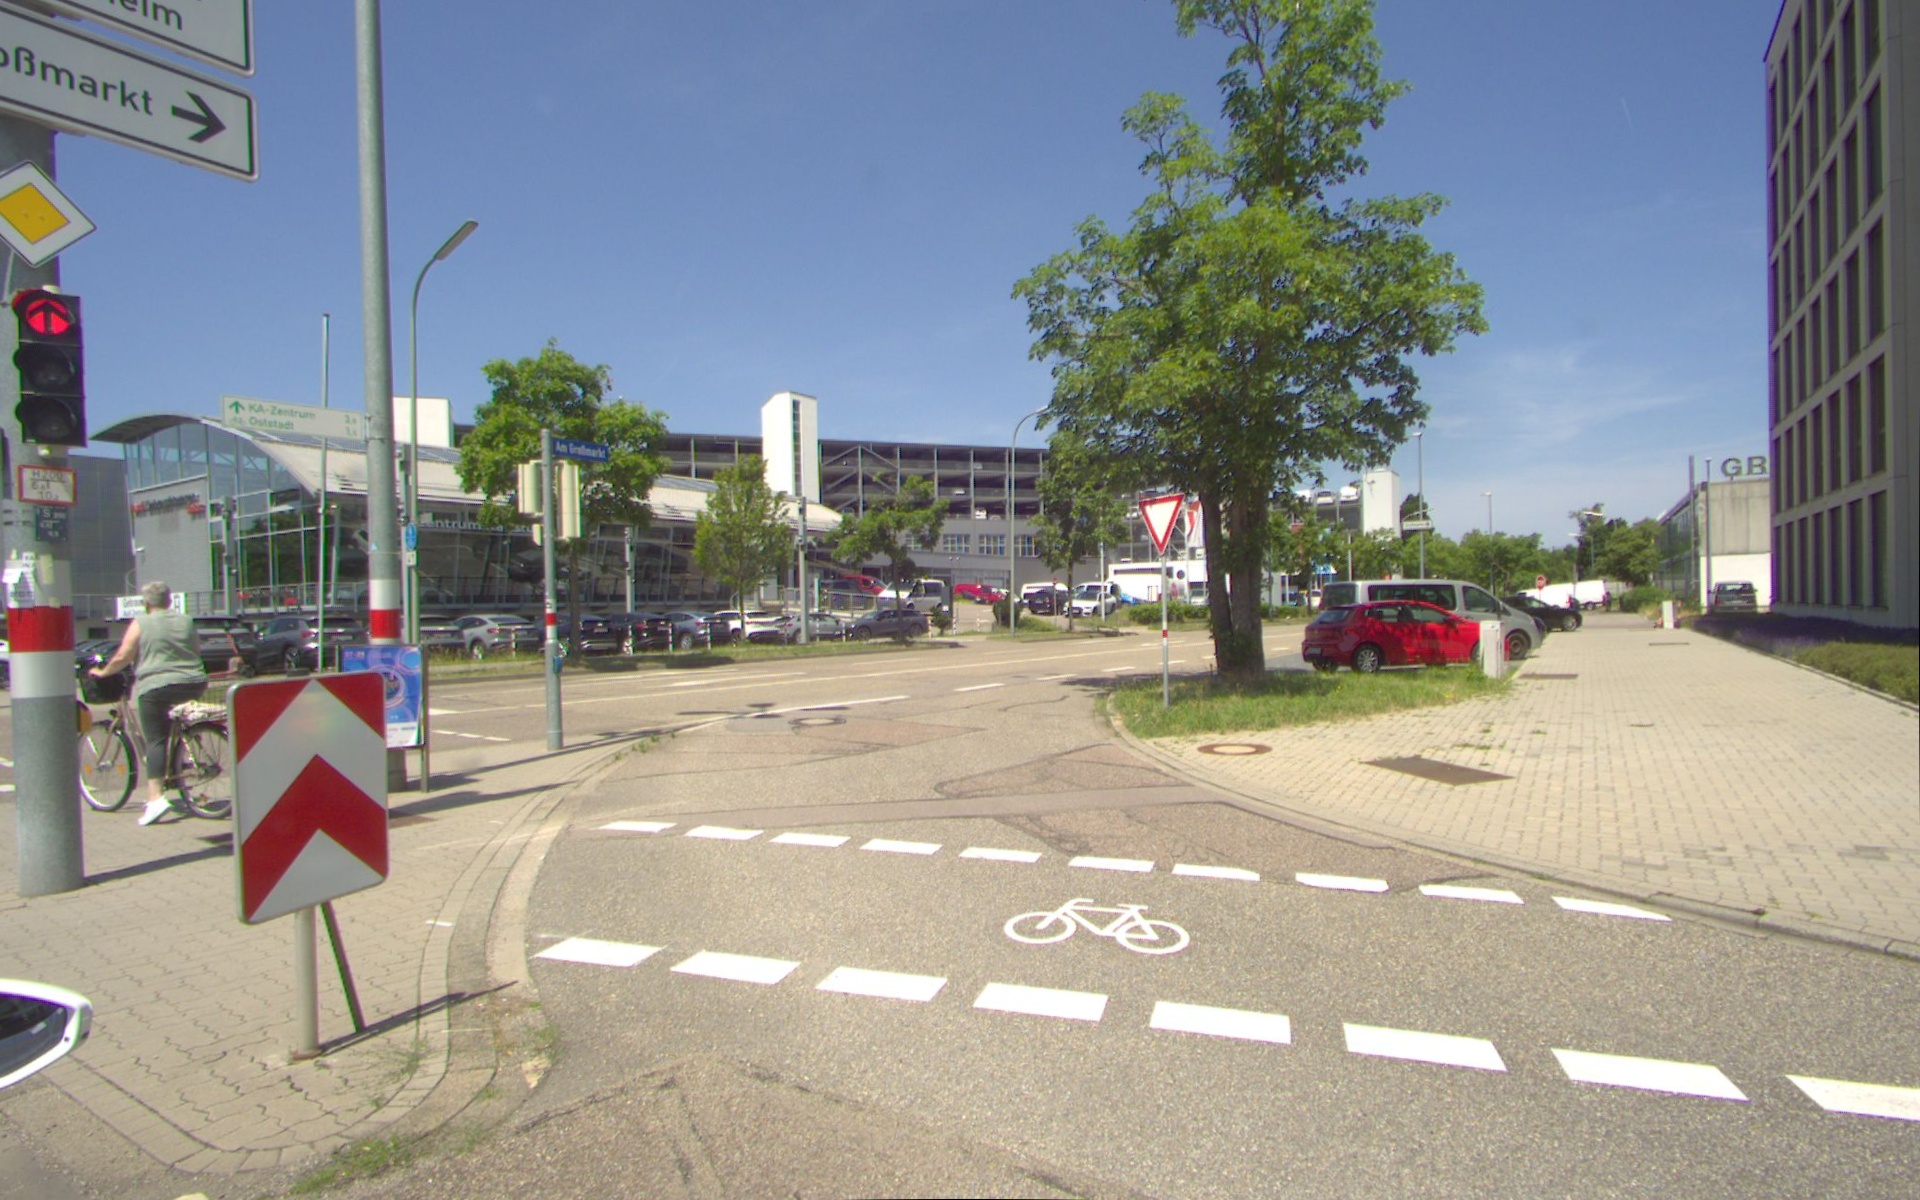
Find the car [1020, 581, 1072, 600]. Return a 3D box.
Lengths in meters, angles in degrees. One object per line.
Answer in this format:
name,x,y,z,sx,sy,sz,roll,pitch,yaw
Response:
car,7.915,-0.856,92.212,4.294,1.674,1.904,-1,0,31

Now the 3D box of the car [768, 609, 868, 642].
car,-7.030,1.249,49.685,4.527,1.491,1.902,-1,0,-34

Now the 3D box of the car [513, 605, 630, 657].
car,-13.263,1.073,34.159,3.851,1.676,1.627,-1,-1,28

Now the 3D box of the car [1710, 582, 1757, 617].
car,42.203,0.018,54.719,1.772,1.750,3.978,-1,-2,34

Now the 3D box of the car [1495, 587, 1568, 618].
car,41.496,0.212,72.694,4.513,2.039,1.990,-1,-2,33

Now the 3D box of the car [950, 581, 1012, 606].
car,1.655,-0.493,78.016,4.525,1.821,1.903,-1,0,34

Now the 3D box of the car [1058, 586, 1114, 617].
car,7.623,0.137,60.145,1.970,1.727,3.983,-1,-2,30

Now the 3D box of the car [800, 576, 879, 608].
car,-6.752,-0.427,56.671,1.888,1.730,4.560,-1,0,35

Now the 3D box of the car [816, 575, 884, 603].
car,-7.271,-0.714,66.280,4.082,1.745,1.907,-1,0,25

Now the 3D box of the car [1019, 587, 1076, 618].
car,5.405,0.183,61.277,1.970,1.727,3.983,-1,-2,30

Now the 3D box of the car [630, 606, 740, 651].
car,-10.688,1.149,38.846,3.937,1.675,1.844,-1,-3,28

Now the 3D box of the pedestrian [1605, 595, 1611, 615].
pedestrian,49.955,0.388,77.213,0.399,1.580,0.546,-1,1,33

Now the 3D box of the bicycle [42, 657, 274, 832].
bicycle,-6.099,1.036,7.597,1.864,1.148,0.628,0,-1,26

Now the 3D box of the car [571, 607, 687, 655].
car,-12.111,1.149,36.639,3.937,1.675,1.844,-1,-3,28

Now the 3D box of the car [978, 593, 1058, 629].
car,2.979,0.554,50.362,1.888,1.717,4.560,-1,0,35

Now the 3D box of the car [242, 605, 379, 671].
car,-17.823,1.080,27.427,3.947,1.675,1.840,-3,-3,35

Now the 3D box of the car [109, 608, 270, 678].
car,-19.528,1.109,25.336,4.442,1.578,1.863,-3,0,33

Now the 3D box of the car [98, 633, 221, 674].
car,-32.805,2.171,41.126,1.619,1.600,3.642,-1,-3,32

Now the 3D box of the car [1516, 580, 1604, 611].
car,53.664,-0.372,89.625,6.606,2.552,2.206,-1,-2,35

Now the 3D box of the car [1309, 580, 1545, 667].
car,10.853,0.515,23.379,4.841,1.911,1.918,0,0,-12

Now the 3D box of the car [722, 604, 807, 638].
car,-10.070,1.068,51.645,3.938,1.591,1.842,-1,0,-28

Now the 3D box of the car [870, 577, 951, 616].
car,-2.591,-0.161,54.111,1.885,1.992,5.228,-1,0,29

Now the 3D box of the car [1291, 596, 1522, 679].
car,8.930,0.729,20.187,3.923,1.451,1.699,-2,-1,-7

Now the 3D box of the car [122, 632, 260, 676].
car,-30.137,2.108,39.352,1.633,1.642,3.980,-1,-3,32

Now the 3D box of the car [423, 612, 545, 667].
car,-15.147,1.202,31.843,3.758,1.637,1.635,0,0,28

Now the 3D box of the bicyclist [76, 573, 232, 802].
bicyclist,-6.111,0.640,7.606,0.812,1.626,0.628,-1,-1,26

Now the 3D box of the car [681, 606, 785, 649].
car,-9.336,1.162,41.219,3.937,1.675,1.844,-1,-3,28

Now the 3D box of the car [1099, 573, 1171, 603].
car,12.010,-0.780,68.862,4.521,1.912,1.904,-1,0,31

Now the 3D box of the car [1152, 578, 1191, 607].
car,16.418,-0.534,77.654,1.812,2.039,3.981,-1,-2,31

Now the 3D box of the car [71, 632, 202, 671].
car,-34.910,2.173,42.542,1.610,1.593,3.977,-1,-3,32

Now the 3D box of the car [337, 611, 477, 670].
car,-16.577,1.229,29.998,3.937,1.675,1.844,-1,-3,28

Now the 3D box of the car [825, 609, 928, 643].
car,-3.953,1.224,47.630,4.554,1.491,1.839,-1,0,-34

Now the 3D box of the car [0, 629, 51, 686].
car,-25.157,1.392,24.088,1.843,1.407,4.583,-2,-3,34

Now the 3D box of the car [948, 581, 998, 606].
car,0.989,-0.448,74.532,1.859,1.728,3.977,-1,-1,33
